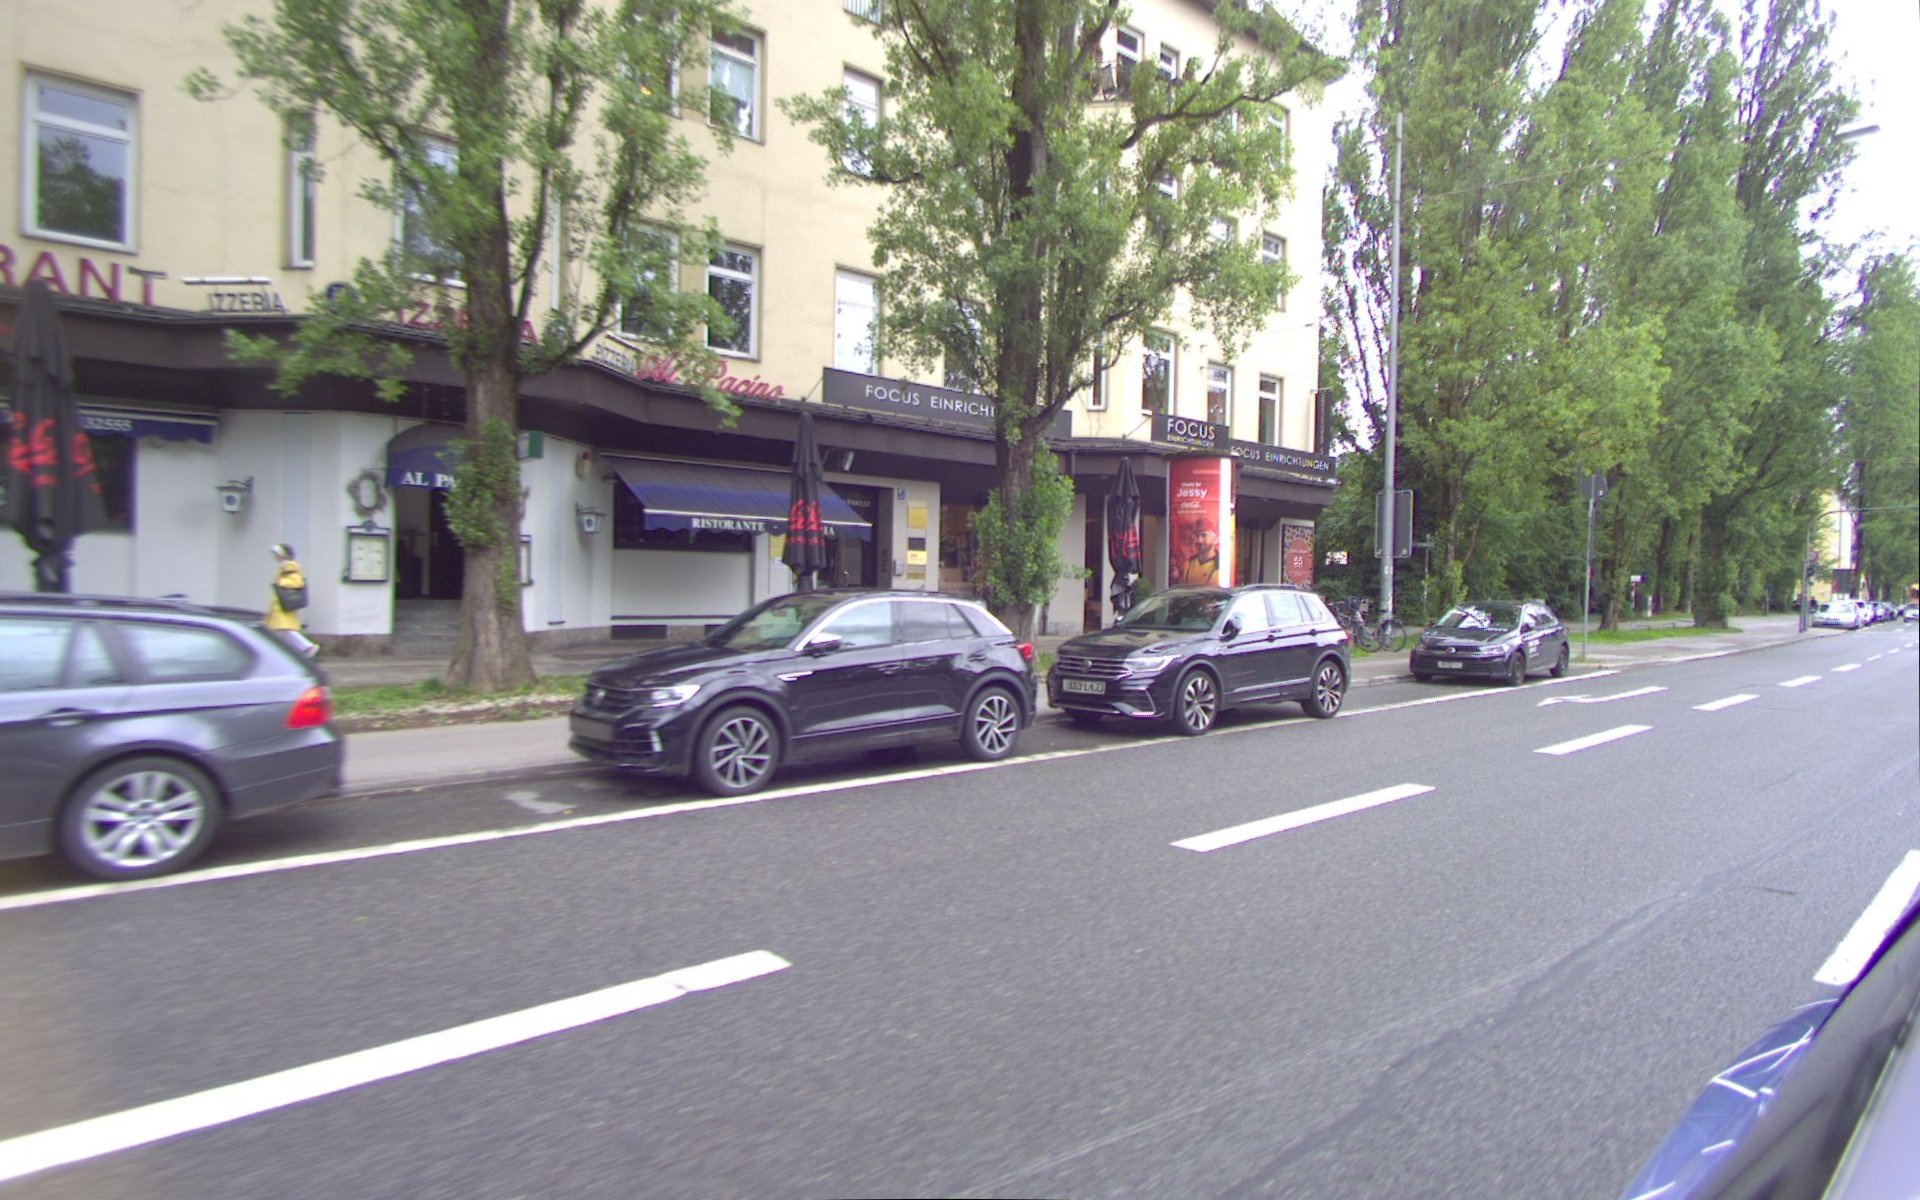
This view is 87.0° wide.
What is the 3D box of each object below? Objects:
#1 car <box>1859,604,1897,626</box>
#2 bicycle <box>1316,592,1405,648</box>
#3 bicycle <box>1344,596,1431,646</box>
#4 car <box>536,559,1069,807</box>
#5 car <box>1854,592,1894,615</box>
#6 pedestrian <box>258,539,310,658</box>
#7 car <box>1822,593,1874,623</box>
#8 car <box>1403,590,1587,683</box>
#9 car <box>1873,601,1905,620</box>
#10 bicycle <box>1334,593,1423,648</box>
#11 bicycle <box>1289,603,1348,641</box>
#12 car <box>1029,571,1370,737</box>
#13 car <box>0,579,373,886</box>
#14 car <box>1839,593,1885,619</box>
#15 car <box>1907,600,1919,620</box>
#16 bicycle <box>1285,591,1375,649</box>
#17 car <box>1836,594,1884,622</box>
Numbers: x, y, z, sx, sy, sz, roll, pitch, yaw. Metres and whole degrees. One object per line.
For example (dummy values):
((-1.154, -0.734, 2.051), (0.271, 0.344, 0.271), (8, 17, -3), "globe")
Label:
((66.870, 1.055, 73.697), (4.071, 1.504, 1.782), (0, 1, -44), "car")
((9.297, 0.440, 23.544), (0.488, 1.200, 1.886), (0, 1, -42), "bicycle")
((10.237, 0.486, 24.302), (0.488, 1.095, 1.886), (0, 1, -42), "bicycle")
((-1.183, 0.519, 8.730), (4.229, 1.632, 1.803), (0, 2, -40), "car")
((62.225, 0.195, 68.901), (4.071, 1.504, 1.782), (0, 1, -44), "car")
((-9.267, -0.021, 13.876), (0.486, 1.582, 0.574), (3, -1, -39), "pedestrian")
((46.919, 0.395, 53.463), (4.282, 1.504, 1.782), (0, 1, -45), "car")
((9.766, 0.582, 18.353), (3.933, 1.484, 1.801), (0, 1, -44), "car")
((78.516, 0.831, 85.506), (4.071, 1.504, 1.782), (0, 1, -44), "car")
((9.874, 0.463, 23.929), (0.488, 1.200, 1.886), (0, 1, -42), "bicycle")
((9.038, 0.536, 25.553), (0.382, 0.894, 1.369), (0, 1, -42), "bicycle")
((3.007, 0.516, 12.163), (4.392, 1.632, 1.725), (0, 2, -40), "car")
((-5.552, 0.613, 5.048), (4.304, 1.416, 1.803), (0, 2, -40), "car")
((54.581, 0.337, 61.209), (4.071, 1.504, 1.782), (0, 1, -44), "car")
((74.995, 0.809, 78.730), (4.071, 1.504, 1.782), (0, 1, -44), "car")
((8.269, 0.423, 22.691), (0.488, 1.200, 1.886), (0, 1, -42), "bicycle")
((51.292, 0.424, 57.654), (4.189, 1.504, 1.782), (0, 1, -44), "car")
